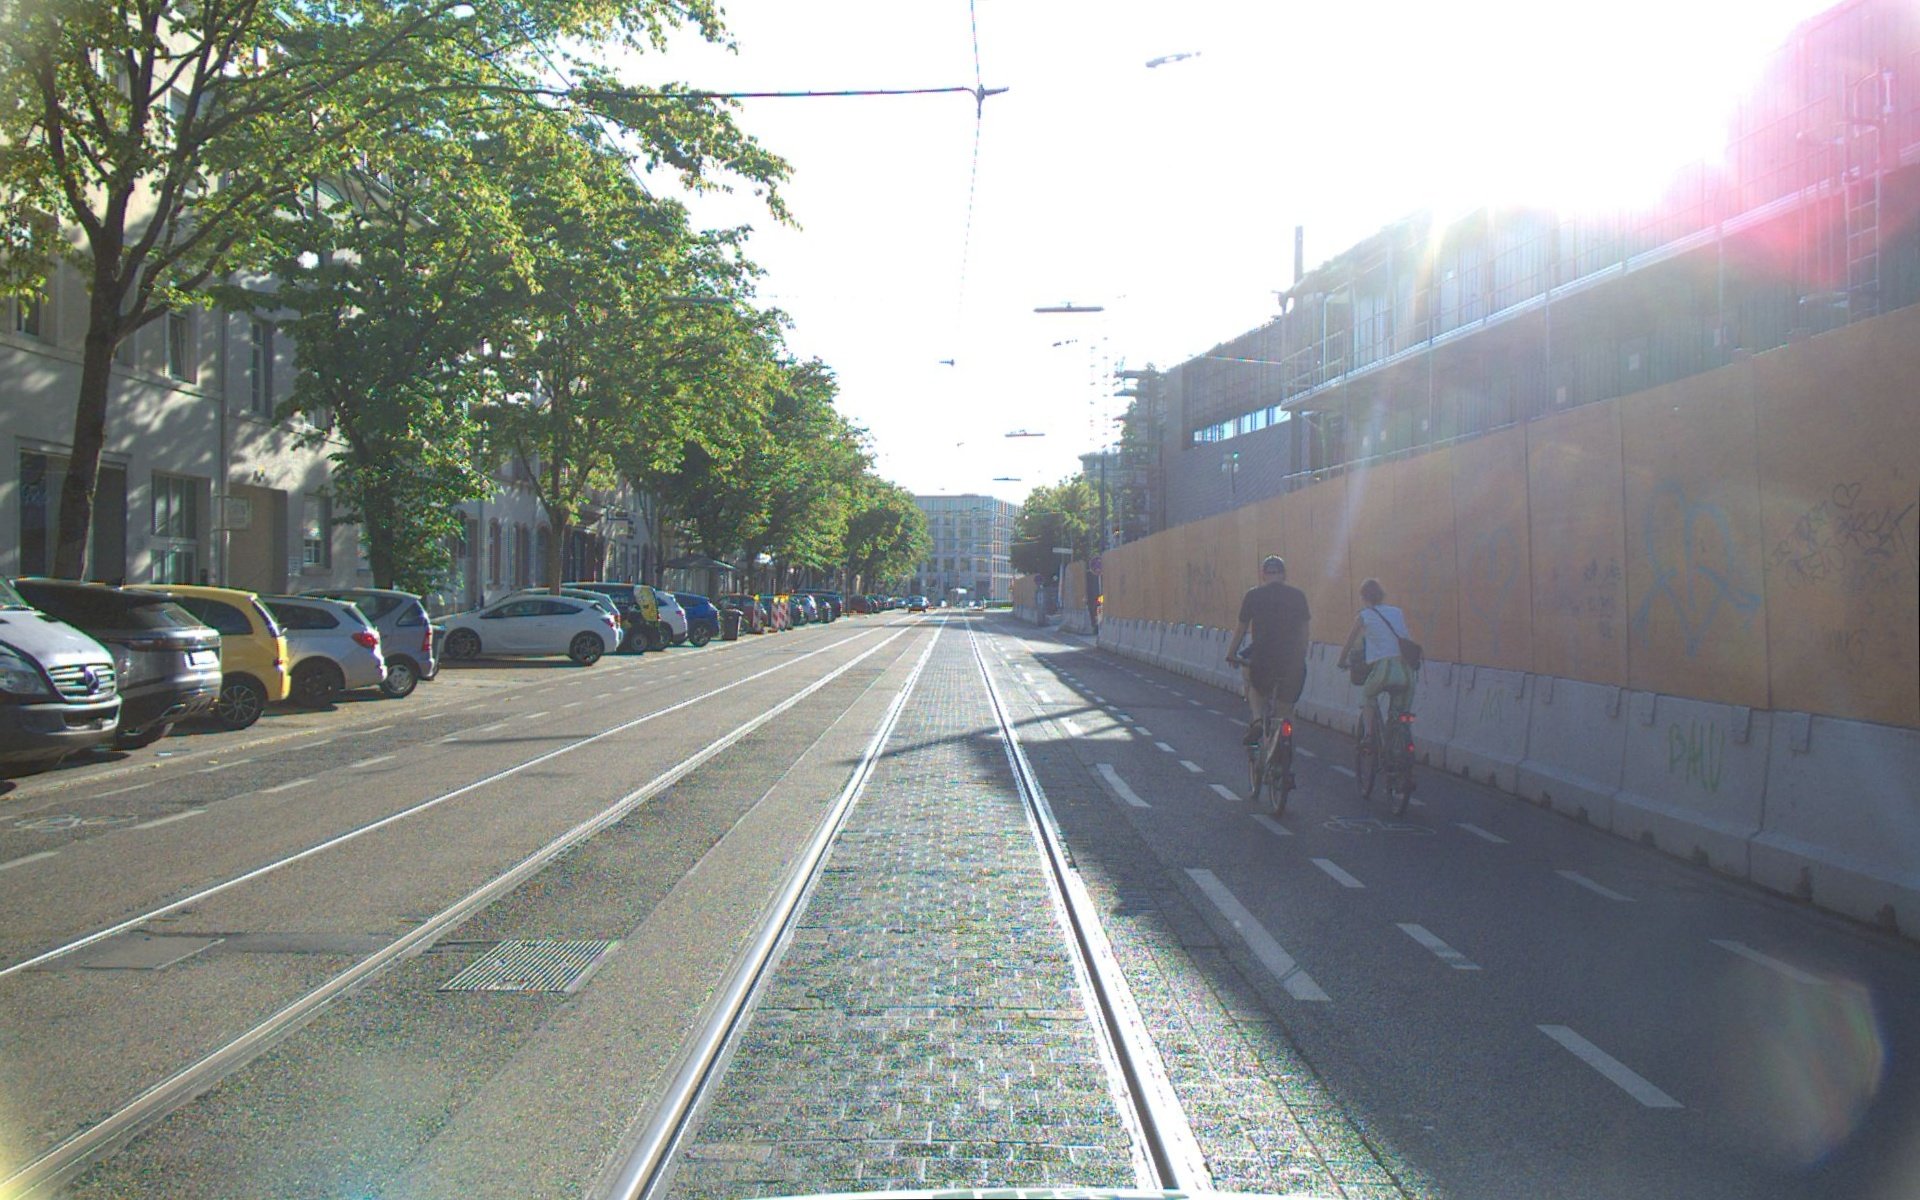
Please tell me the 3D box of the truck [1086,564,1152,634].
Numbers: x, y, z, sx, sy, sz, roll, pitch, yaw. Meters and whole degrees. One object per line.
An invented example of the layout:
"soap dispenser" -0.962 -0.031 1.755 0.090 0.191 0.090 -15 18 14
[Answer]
"truck" 7.104 -0.042 74.594 2.468 2.960 5.508 -2 0 1

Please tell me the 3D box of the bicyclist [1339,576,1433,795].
"bicyclist" 3.263 0.640 12.702 0.545 1.641 0.576 0 0 -2

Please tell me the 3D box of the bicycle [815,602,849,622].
"bicycle" -7.692 0.717 99.268 1.935 1.164 0.490 2 -1 -19

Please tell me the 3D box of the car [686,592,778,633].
"car" -9.778 0.530 70.957 3.569 1.580 1.655 2 1 -26

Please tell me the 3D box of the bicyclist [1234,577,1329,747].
"bicyclist" 2.426 0.459 12.513 0.638 1.259 0.353 0 0 -2

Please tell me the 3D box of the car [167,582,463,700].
"car" -9.953 0.616 25.719 3.905 1.706 1.702 1 0 0

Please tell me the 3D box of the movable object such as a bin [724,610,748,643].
"movable object such as a bin" -7.892 0.929 58.199 0.669 1.096 0.710 3 0 1

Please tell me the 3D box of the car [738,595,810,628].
"car" -9.691 0.604 86.121 3.324 1.519 1.598 2 0 -28

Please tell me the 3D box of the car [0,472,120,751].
"car" -9.614 0.055 13.524 4.347 2.155 2.162 1 0 -3

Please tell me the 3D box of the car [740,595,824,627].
"car" -9.575 0.581 89.022 4.054 1.539 1.825 2 0 -27

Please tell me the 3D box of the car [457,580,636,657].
"car" -10.318 0.471 41.344 3.945 1.685 1.792 3 0 -30

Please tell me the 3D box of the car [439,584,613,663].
"car" -9.744 0.536 37.111 3.582 1.556 1.876 3 -1 -20

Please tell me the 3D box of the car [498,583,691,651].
"car" -10.244 0.467 46.577 4.895 1.826 2.177 1 0 -41

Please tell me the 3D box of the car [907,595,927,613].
"car" -4.383 0.363 168.963 1.889 1.657 4.248 -2 1 -1

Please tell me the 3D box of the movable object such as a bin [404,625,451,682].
"movable object such as a bin" -9.320 0.935 28.982 0.609 0.961 0.670 0 0 -1

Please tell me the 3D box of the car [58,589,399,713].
"car" -9.996 0.664 22.916 4.091 1.579 1.695 -1 0 -16

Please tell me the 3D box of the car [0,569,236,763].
"car" -9.869 0.582 16.021 4.732 1.754 2.162 1 0 -3

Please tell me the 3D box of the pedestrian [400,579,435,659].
"pedestrian" -12.927 0.449 39.406 0.630 1.870 0.624 0 0 1

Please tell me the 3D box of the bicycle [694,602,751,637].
"bicycle" -8.895 0.728 61.955 1.962 1.106 0.568 5 0 2

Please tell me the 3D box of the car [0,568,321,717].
"car" -9.413 0.506 19.445 3.330 1.579 1.370 2 2 -31

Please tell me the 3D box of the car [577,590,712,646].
"car" -9.810 0.538 51.575 3.861 1.637 1.553 -1 0 -37

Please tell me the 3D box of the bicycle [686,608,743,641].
"bicycle" -8.989 0.910 60.627 1.927 1.098 0.568 3 0 2

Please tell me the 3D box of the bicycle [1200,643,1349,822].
"bicycle" 2.366 0.955 12.716 0.654 1.175 2.275 2 0 -1

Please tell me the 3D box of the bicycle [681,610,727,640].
"bicycle" -9.132 0.877 58.946 1.571 1.005 0.388 2 0 -11

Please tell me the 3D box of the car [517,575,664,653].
"car" -9.796 0.403 43.899 3.406 1.875 1.711 3 -4 -35

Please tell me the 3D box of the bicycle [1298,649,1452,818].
"bicycle" 3.239 1.002 13.113 0.546 1.146 2.275 0 0 -3
